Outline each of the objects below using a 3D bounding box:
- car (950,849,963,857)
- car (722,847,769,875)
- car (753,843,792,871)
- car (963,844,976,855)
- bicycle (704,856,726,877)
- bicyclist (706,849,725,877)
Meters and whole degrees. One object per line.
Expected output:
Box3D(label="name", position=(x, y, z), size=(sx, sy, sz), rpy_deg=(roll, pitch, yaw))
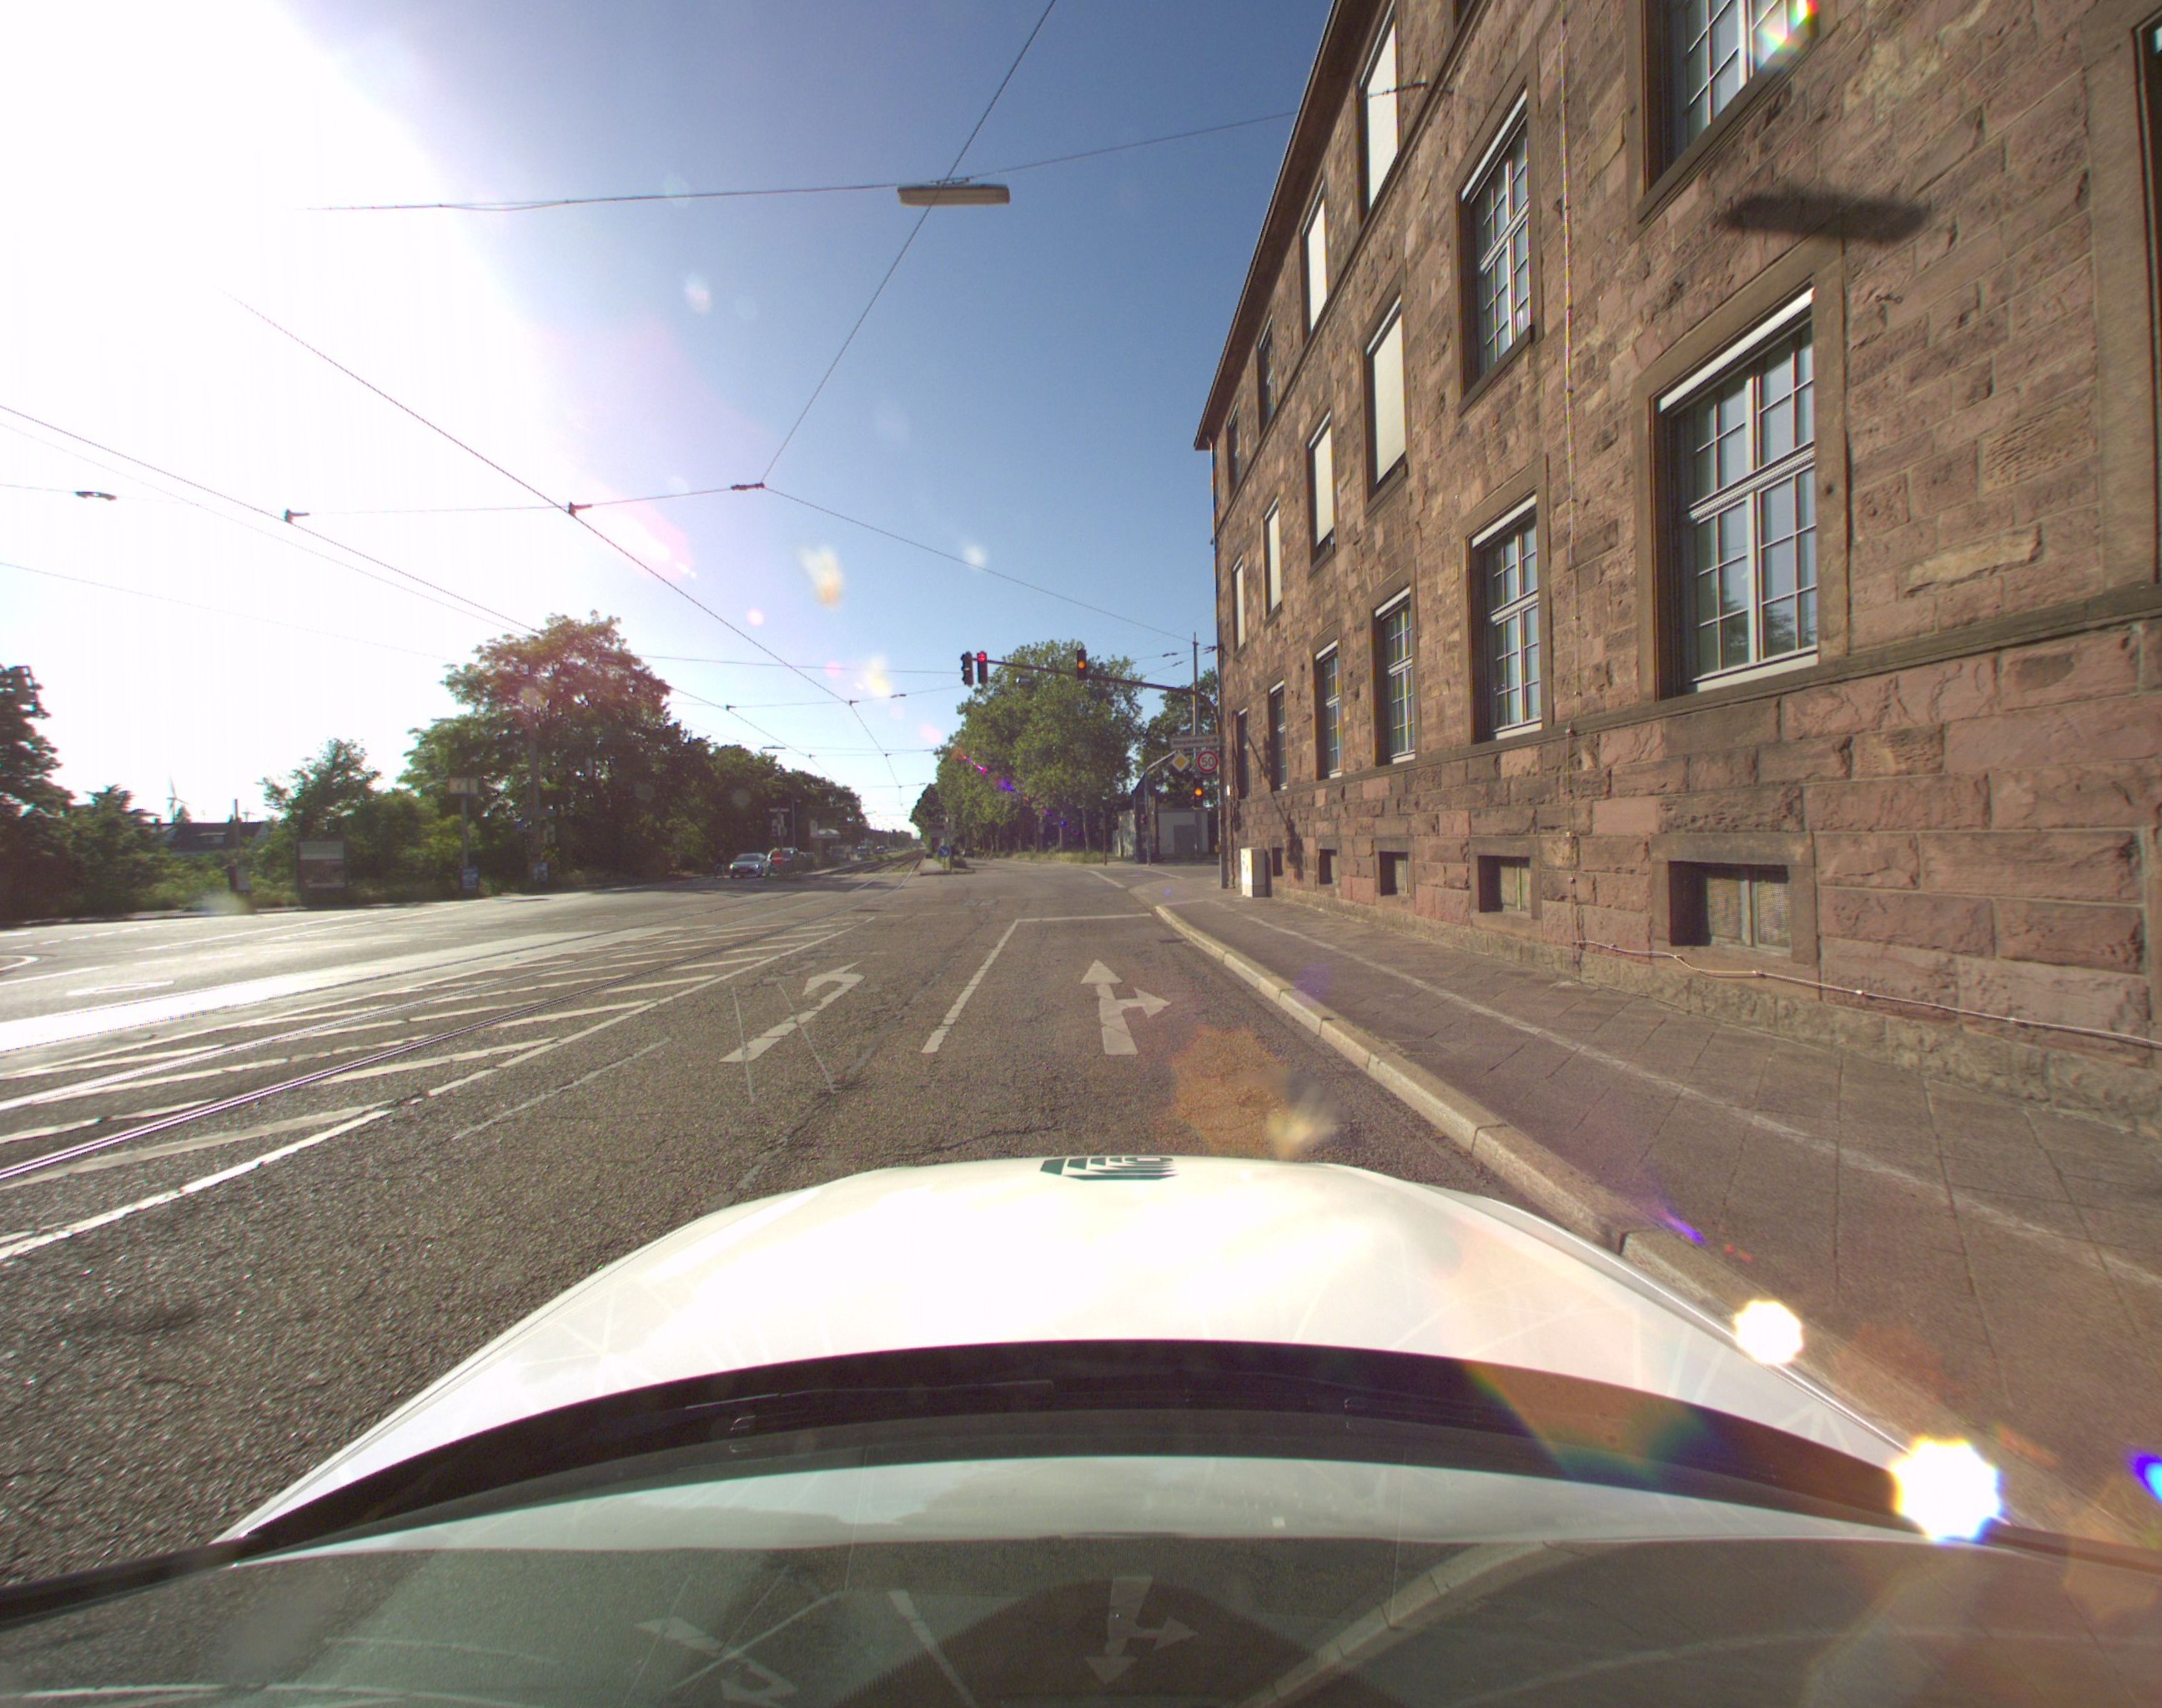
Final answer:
Box3D(label="car", position=(-28.878, -0.251, 189.023), size=(1.950, 1.610, 3.971), rpy_deg=(-2, 1, -22))
Box3D(label="car", position=(-19.934, 0.400, 48.505), size=(1.997, 1.504, 3.981), rpy_deg=(-2, 1, -14))
Box3D(label="car", position=(-20.789, 0.177, 55.025), size=(1.997, 1.760, 3.981), rpy_deg=(-2, 1, -14))
Box3D(label="car", position=(-17.450, -0.656, 127.690), size=(1.940, 1.610, 3.992), rpy_deg=(-2, 1, -6))
Box3D(label="bicycle", position=(-20.183, 0.692, 44.991), size=(0.751, 1.087, 2.165), rpy_deg=(-2, 1, -16))
Box3D(label="bicyclist", position=(-20.184, 0.487, 44.977), size=(0.751, 1.504, 0.959), rpy_deg=(-2, 1, -16))
